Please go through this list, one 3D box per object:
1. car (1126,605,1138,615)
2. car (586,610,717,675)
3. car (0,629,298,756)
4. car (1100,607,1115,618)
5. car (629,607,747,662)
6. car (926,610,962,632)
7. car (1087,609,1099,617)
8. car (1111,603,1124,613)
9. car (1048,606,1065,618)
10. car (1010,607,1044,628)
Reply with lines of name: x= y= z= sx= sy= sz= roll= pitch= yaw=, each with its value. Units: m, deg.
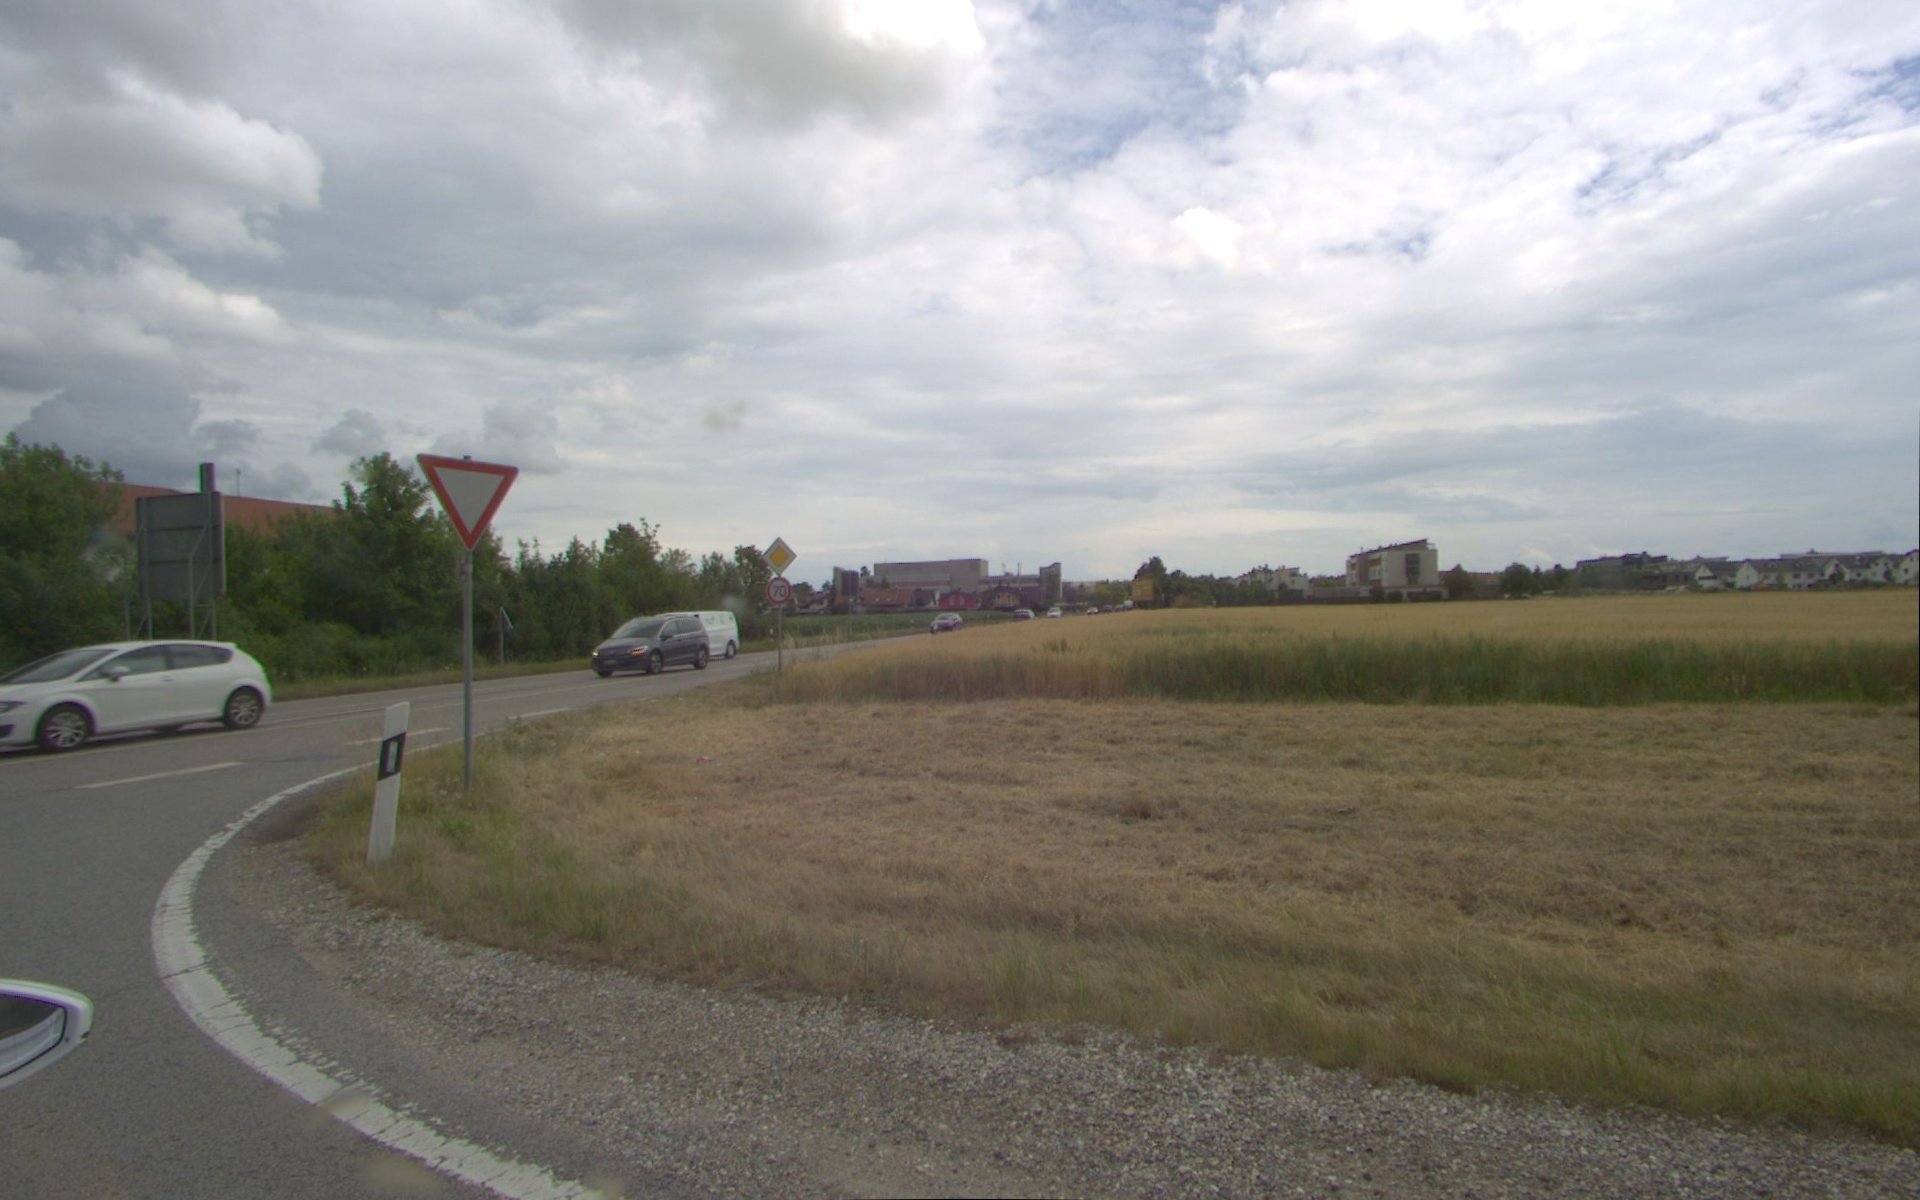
car: x=35.121 y=1.984 z=204.048 sx=2.082 sy=2.040 sz=4.735 roll=-1 pitch=0 yaw=14
car: x=-8.949 y=1.190 z=29.471 sx=1.721 sy=1.680 sz=4.286 roll=-3 pitch=-1 yaw=13
car: x=-12.341 y=1.244 z=14.703 sx=1.786 sy=1.426 sz=4.308 roll=-2 pitch=0 yaw=12
car: x=23.011 y=1.932 z=155.840 sx=1.830 sy=1.751 sz=3.994 roll=-1 pitch=0 yaw=16
car: x=-10.374 y=1.278 z=38.721 sx=2.074 sy=1.910 sz=5.385 roll=-2 pitch=0 yaw=13
car: x=-1.132 y=1.543 z=74.457 sx=1.647 sy=1.420 sz=4.084 roll=-3 pitch=0 yaw=14
car: x=22.849 y=2.182 z=171.549 sx=1.744 sy=1.257 sz=4.208 roll=-2 pitch=-1 yaw=12
car: x=28.276 y=1.415 z=179.458 sx=1.830 sy=1.751 sz=3.994 roll=-1 pitch=0 yaw=16
car: x=12.418 y=1.583 z=128.643 sx=1.703 sy=1.450 sz=3.931 roll=-3 pitch=-1 yaw=13
car: x=5.224 y=1.340 z=77.740 sx=1.830 sy=1.586 sz=3.994 roll=-1 pitch=0 yaw=16
